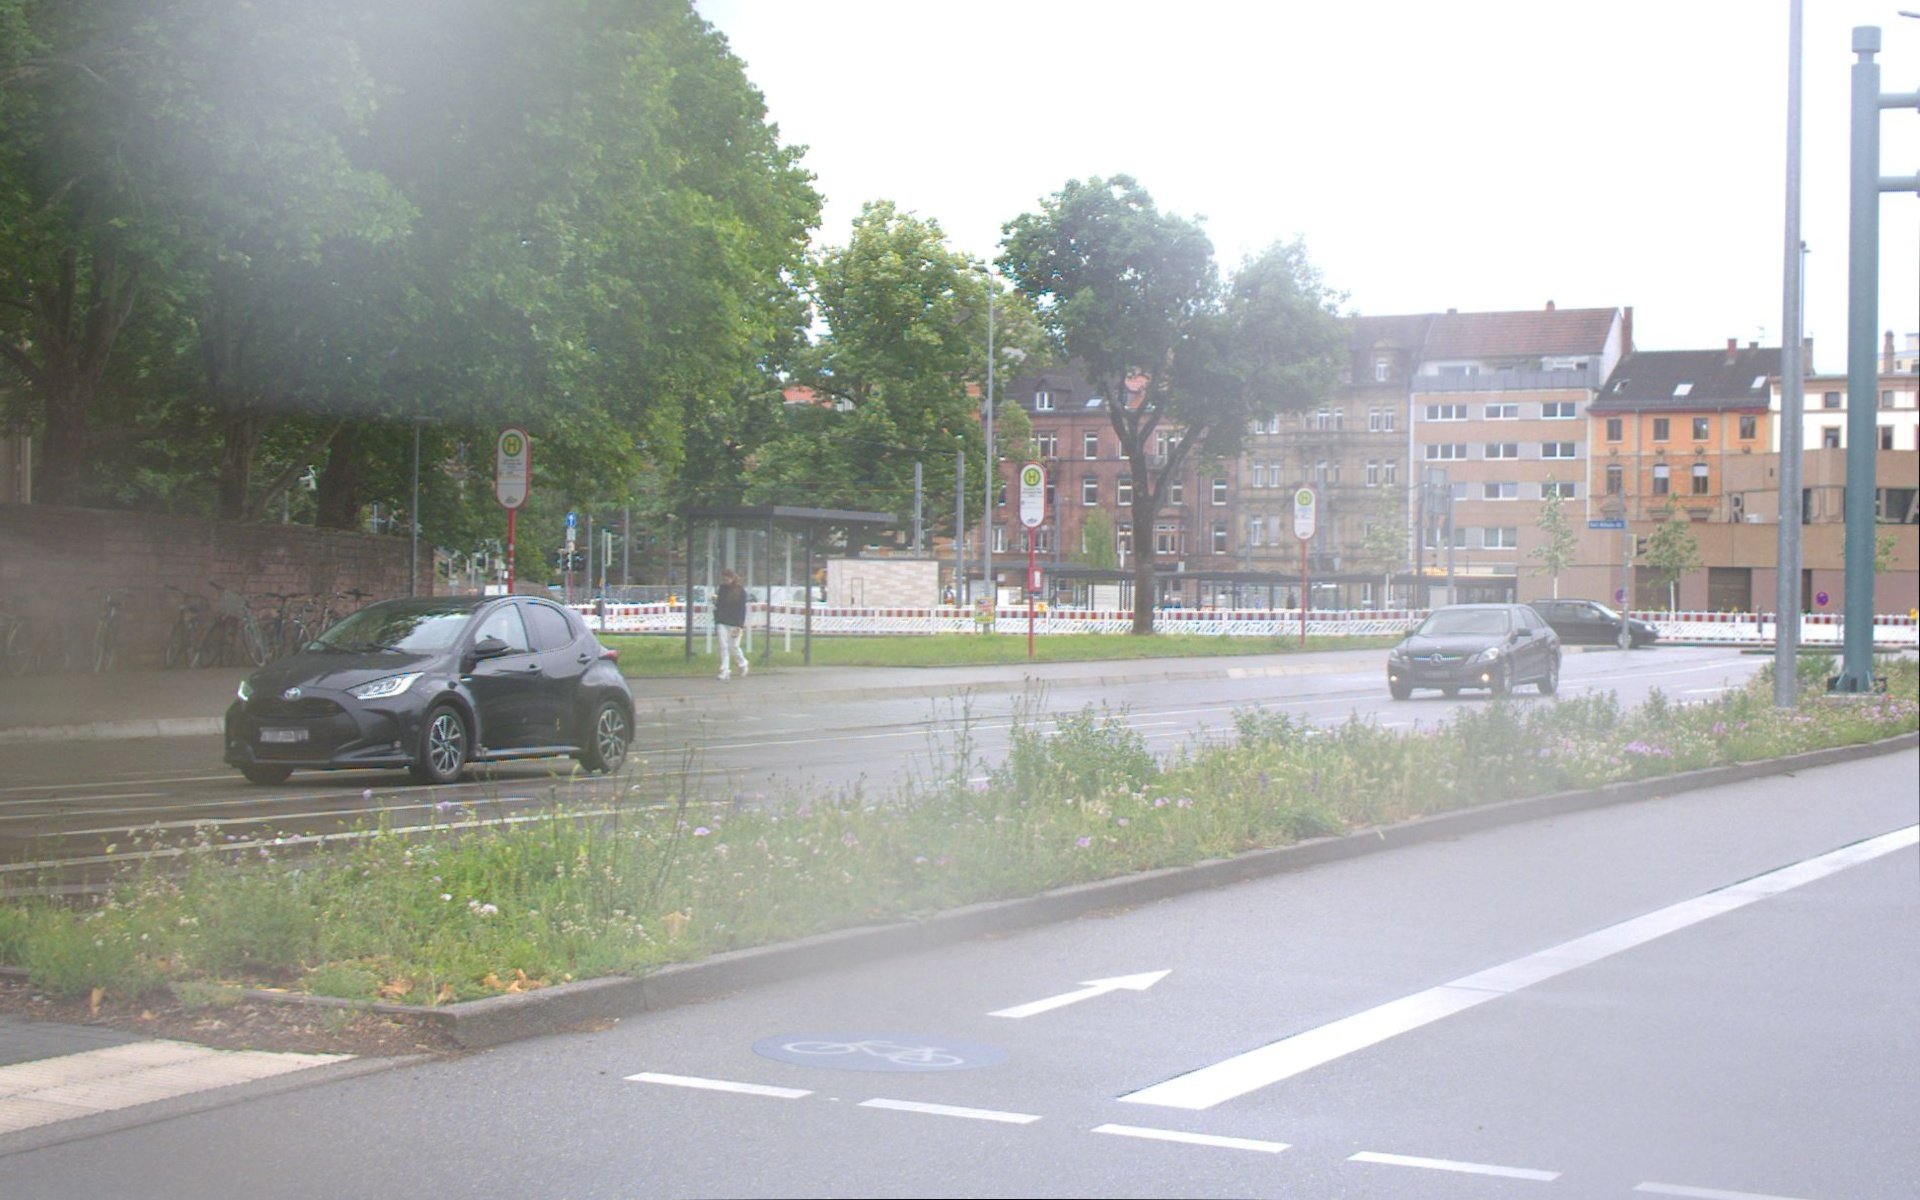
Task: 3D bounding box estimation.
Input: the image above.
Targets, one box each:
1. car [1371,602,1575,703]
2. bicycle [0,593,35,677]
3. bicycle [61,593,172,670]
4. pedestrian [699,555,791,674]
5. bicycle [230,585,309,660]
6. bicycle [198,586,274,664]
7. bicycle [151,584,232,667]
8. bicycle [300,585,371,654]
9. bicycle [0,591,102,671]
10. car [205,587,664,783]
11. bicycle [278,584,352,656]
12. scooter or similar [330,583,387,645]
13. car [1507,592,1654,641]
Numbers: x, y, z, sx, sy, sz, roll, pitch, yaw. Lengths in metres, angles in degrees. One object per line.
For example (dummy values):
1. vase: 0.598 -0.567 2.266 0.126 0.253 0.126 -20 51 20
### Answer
1. car: 8.168 0.804 54.411 1.811 1.535 4.696 -1 0 27
2. bicycle: -11.606 0.409 40.350 0.731 0.980 1.700 1 0 12
3. bicycle: -11.174 0.406 45.597 0.731 0.980 1.700 1 0 12
4. pedestrian: -3.138 0.208 50.360 0.869 1.690 1.399 1 0 17
5. bicycle: -10.686 0.333 53.237 0.573 1.132 1.991 1 0 7
6. bicycle: -10.761 0.358 51.163 0.573 1.132 1.991 1 0 4
7. bicycle: -10.879 0.349 48.747 0.573 1.132 1.991 1 0 4
8. bicycle: -10.451 0.319 57.563 0.573 1.132 1.991 1 0 7
9. bicycle: -11.605 0.381 43.548 0.731 0.980 1.700 1 0 12
10. car: -4.020 0.621 26.971 1.625 1.411 4.061 0 0 24
11. bicycle: -10.404 0.310 55.497 0.573 1.132 1.991 1 0 7
12. scooter or similar: -10.316 0.238 59.007 0.572 1.043 1.362 1 0 7
13. car: 19.039 0.511 105.450 4.196 1.397 1.616 1 0 21
